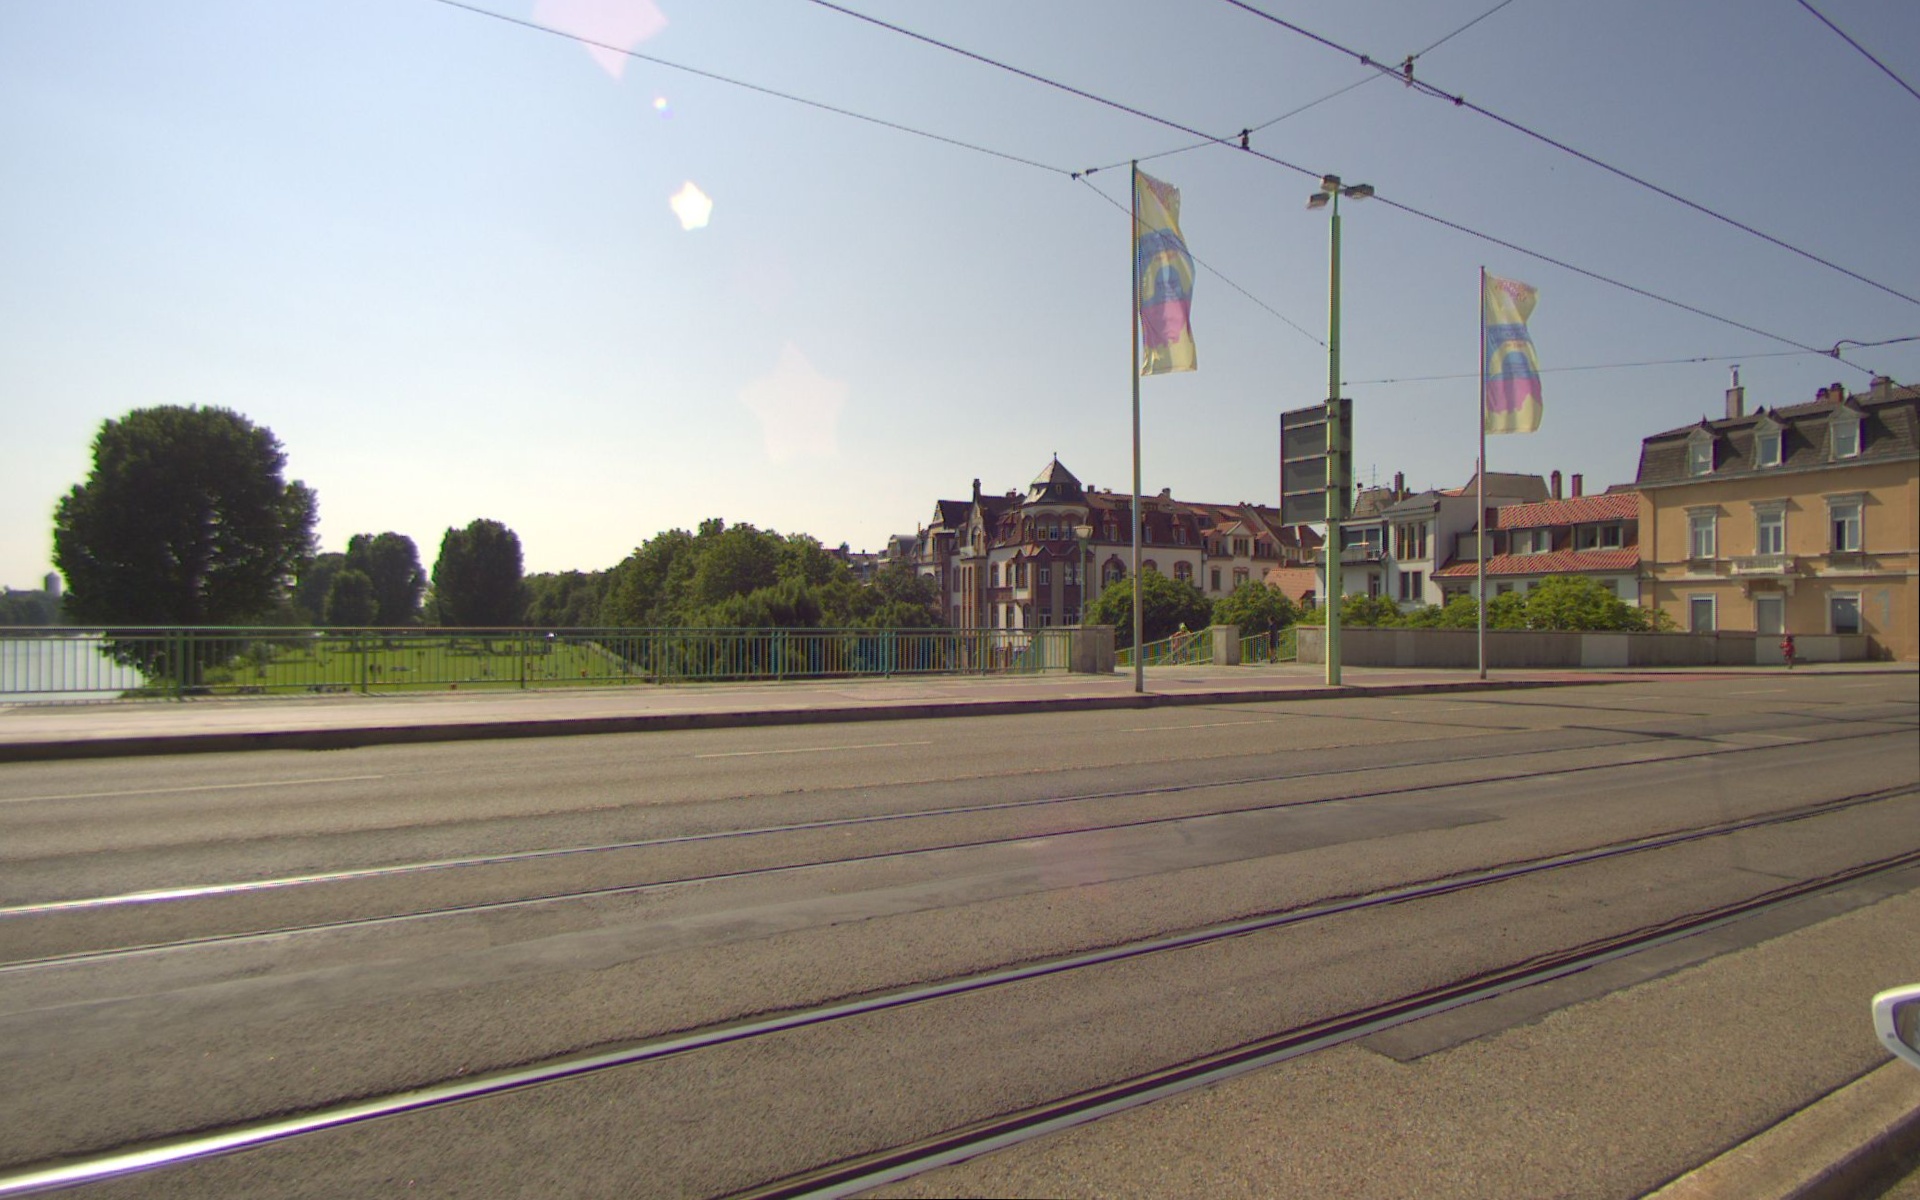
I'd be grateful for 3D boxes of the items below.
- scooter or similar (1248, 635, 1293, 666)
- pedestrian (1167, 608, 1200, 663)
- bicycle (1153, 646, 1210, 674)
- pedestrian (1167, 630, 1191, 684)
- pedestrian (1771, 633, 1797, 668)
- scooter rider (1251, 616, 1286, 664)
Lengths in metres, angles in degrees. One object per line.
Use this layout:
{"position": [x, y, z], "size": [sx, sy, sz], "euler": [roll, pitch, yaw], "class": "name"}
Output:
{"position": [9.110, 1.478, 29.459], "size": [0.945, 0.793, 0.779], "euler": [2, 3, -18], "class": "scooter or similar"}
{"position": [7.432, 1.189, 33.385], "size": [0.791, 1.804, 0.743], "euler": [1, -1, -25], "class": "pedestrian"}
{"position": [6.909, 1.862, 31.459], "size": [0.615, 0.726, 1.918], "euler": [0, 1, -30], "class": "bicycle"}
{"position": [6.884, 1.772, 31.575], "size": [0.408, 1.654, 0.622], "euler": [1, 1, -30], "class": "pedestrian"}
{"position": [28.319, 1.746, 34.520], "size": [0.537, 1.161, 0.411], "euler": [1, 3, -24], "class": "pedestrian"}
{"position": [9.062, 1.159, 29.502], "size": [0.589, 1.333, 0.767], "euler": [2, 3, -18], "class": "scooter rider"}
